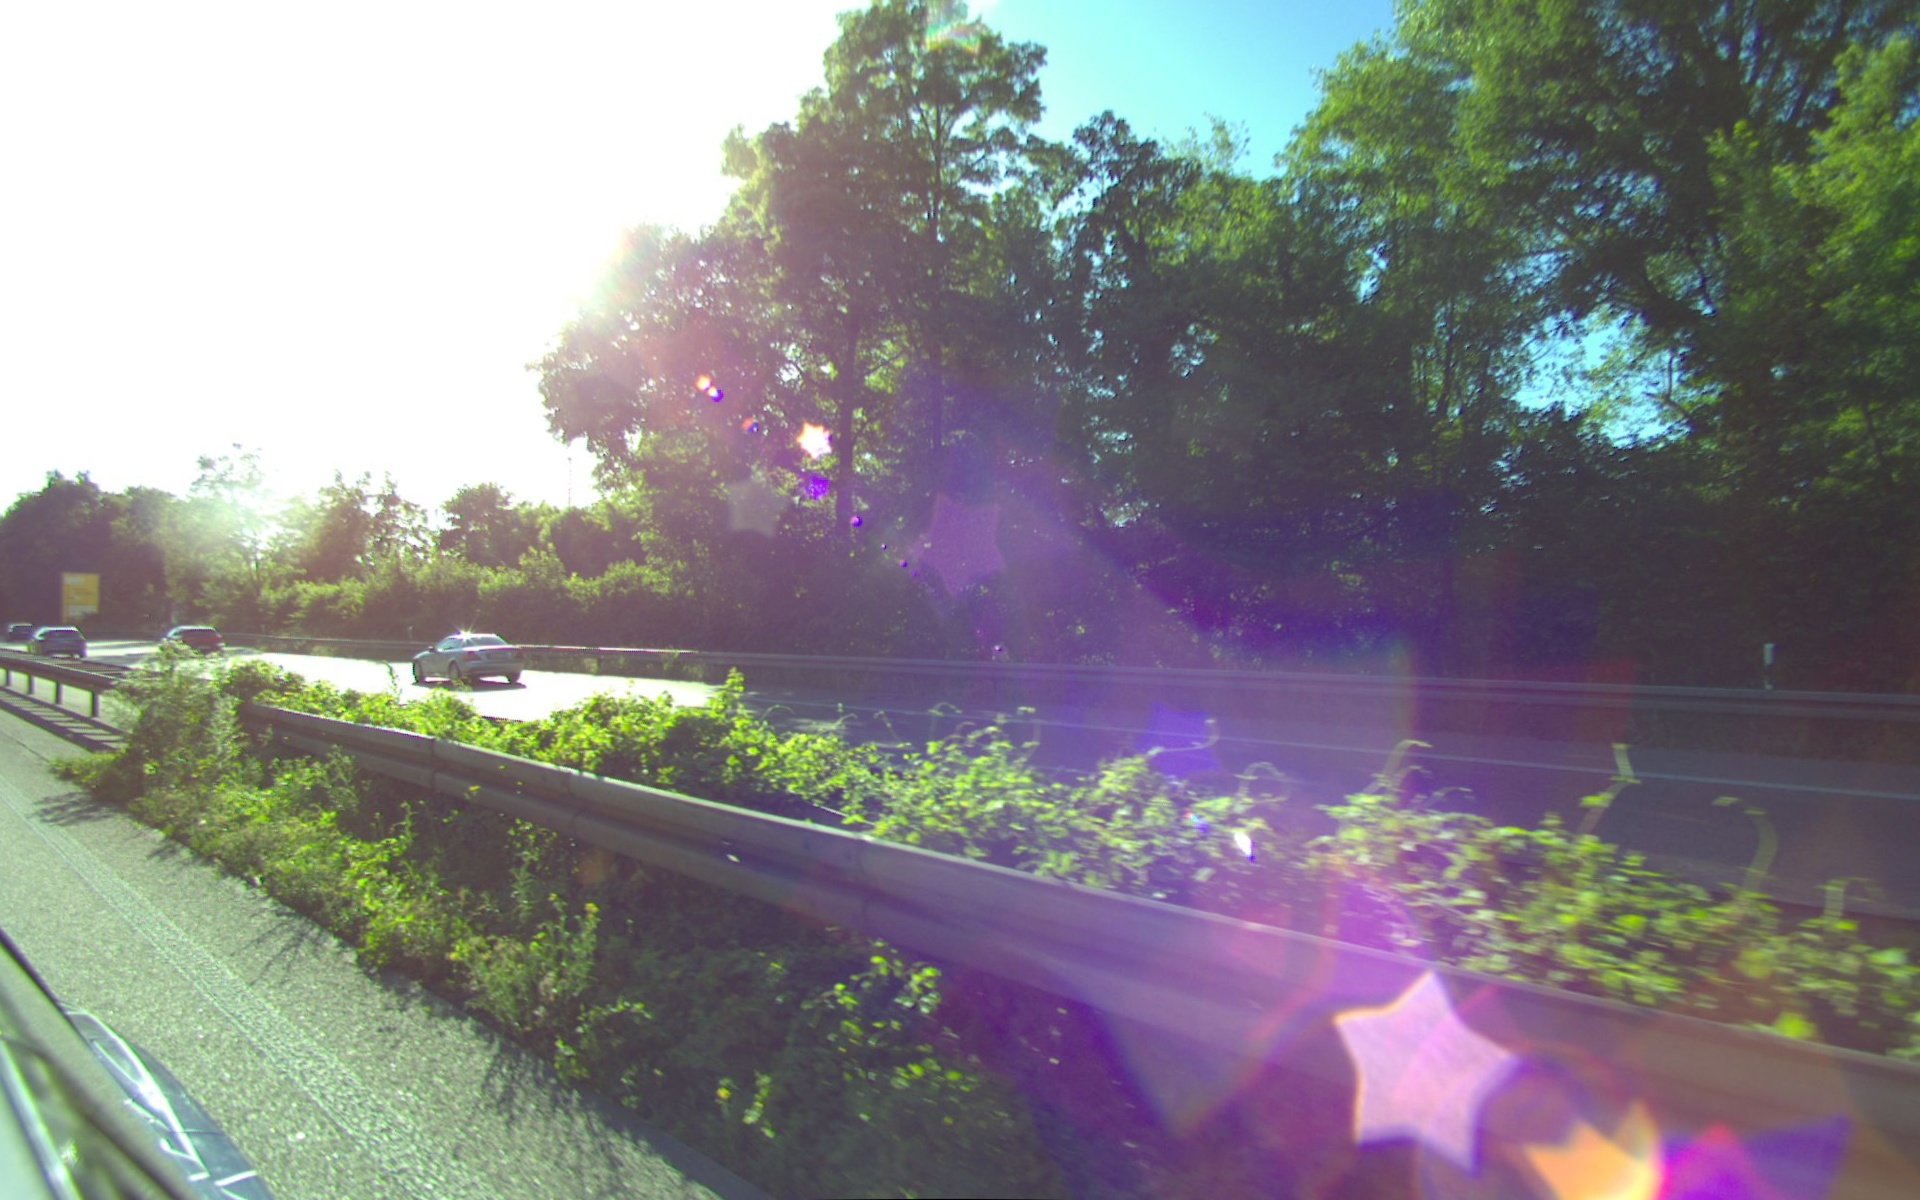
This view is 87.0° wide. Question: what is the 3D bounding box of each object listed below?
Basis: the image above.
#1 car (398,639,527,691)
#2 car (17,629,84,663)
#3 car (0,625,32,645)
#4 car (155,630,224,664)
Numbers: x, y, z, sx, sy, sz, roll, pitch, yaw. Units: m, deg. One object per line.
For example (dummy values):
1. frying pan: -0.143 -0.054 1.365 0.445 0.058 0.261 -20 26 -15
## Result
1. car: -13.433 1.698 27.226 4.260 1.232 1.628 -1 -1 41
2. car: -43.060 2.138 47.896 5.202 1.436 1.730 -1 0 41
3. car: -76.705 2.813 82.057 3.975 1.506 1.730 -1 0 41
4. car: -35.444 2.131 46.518 4.134 1.436 1.730 -1 0 41
